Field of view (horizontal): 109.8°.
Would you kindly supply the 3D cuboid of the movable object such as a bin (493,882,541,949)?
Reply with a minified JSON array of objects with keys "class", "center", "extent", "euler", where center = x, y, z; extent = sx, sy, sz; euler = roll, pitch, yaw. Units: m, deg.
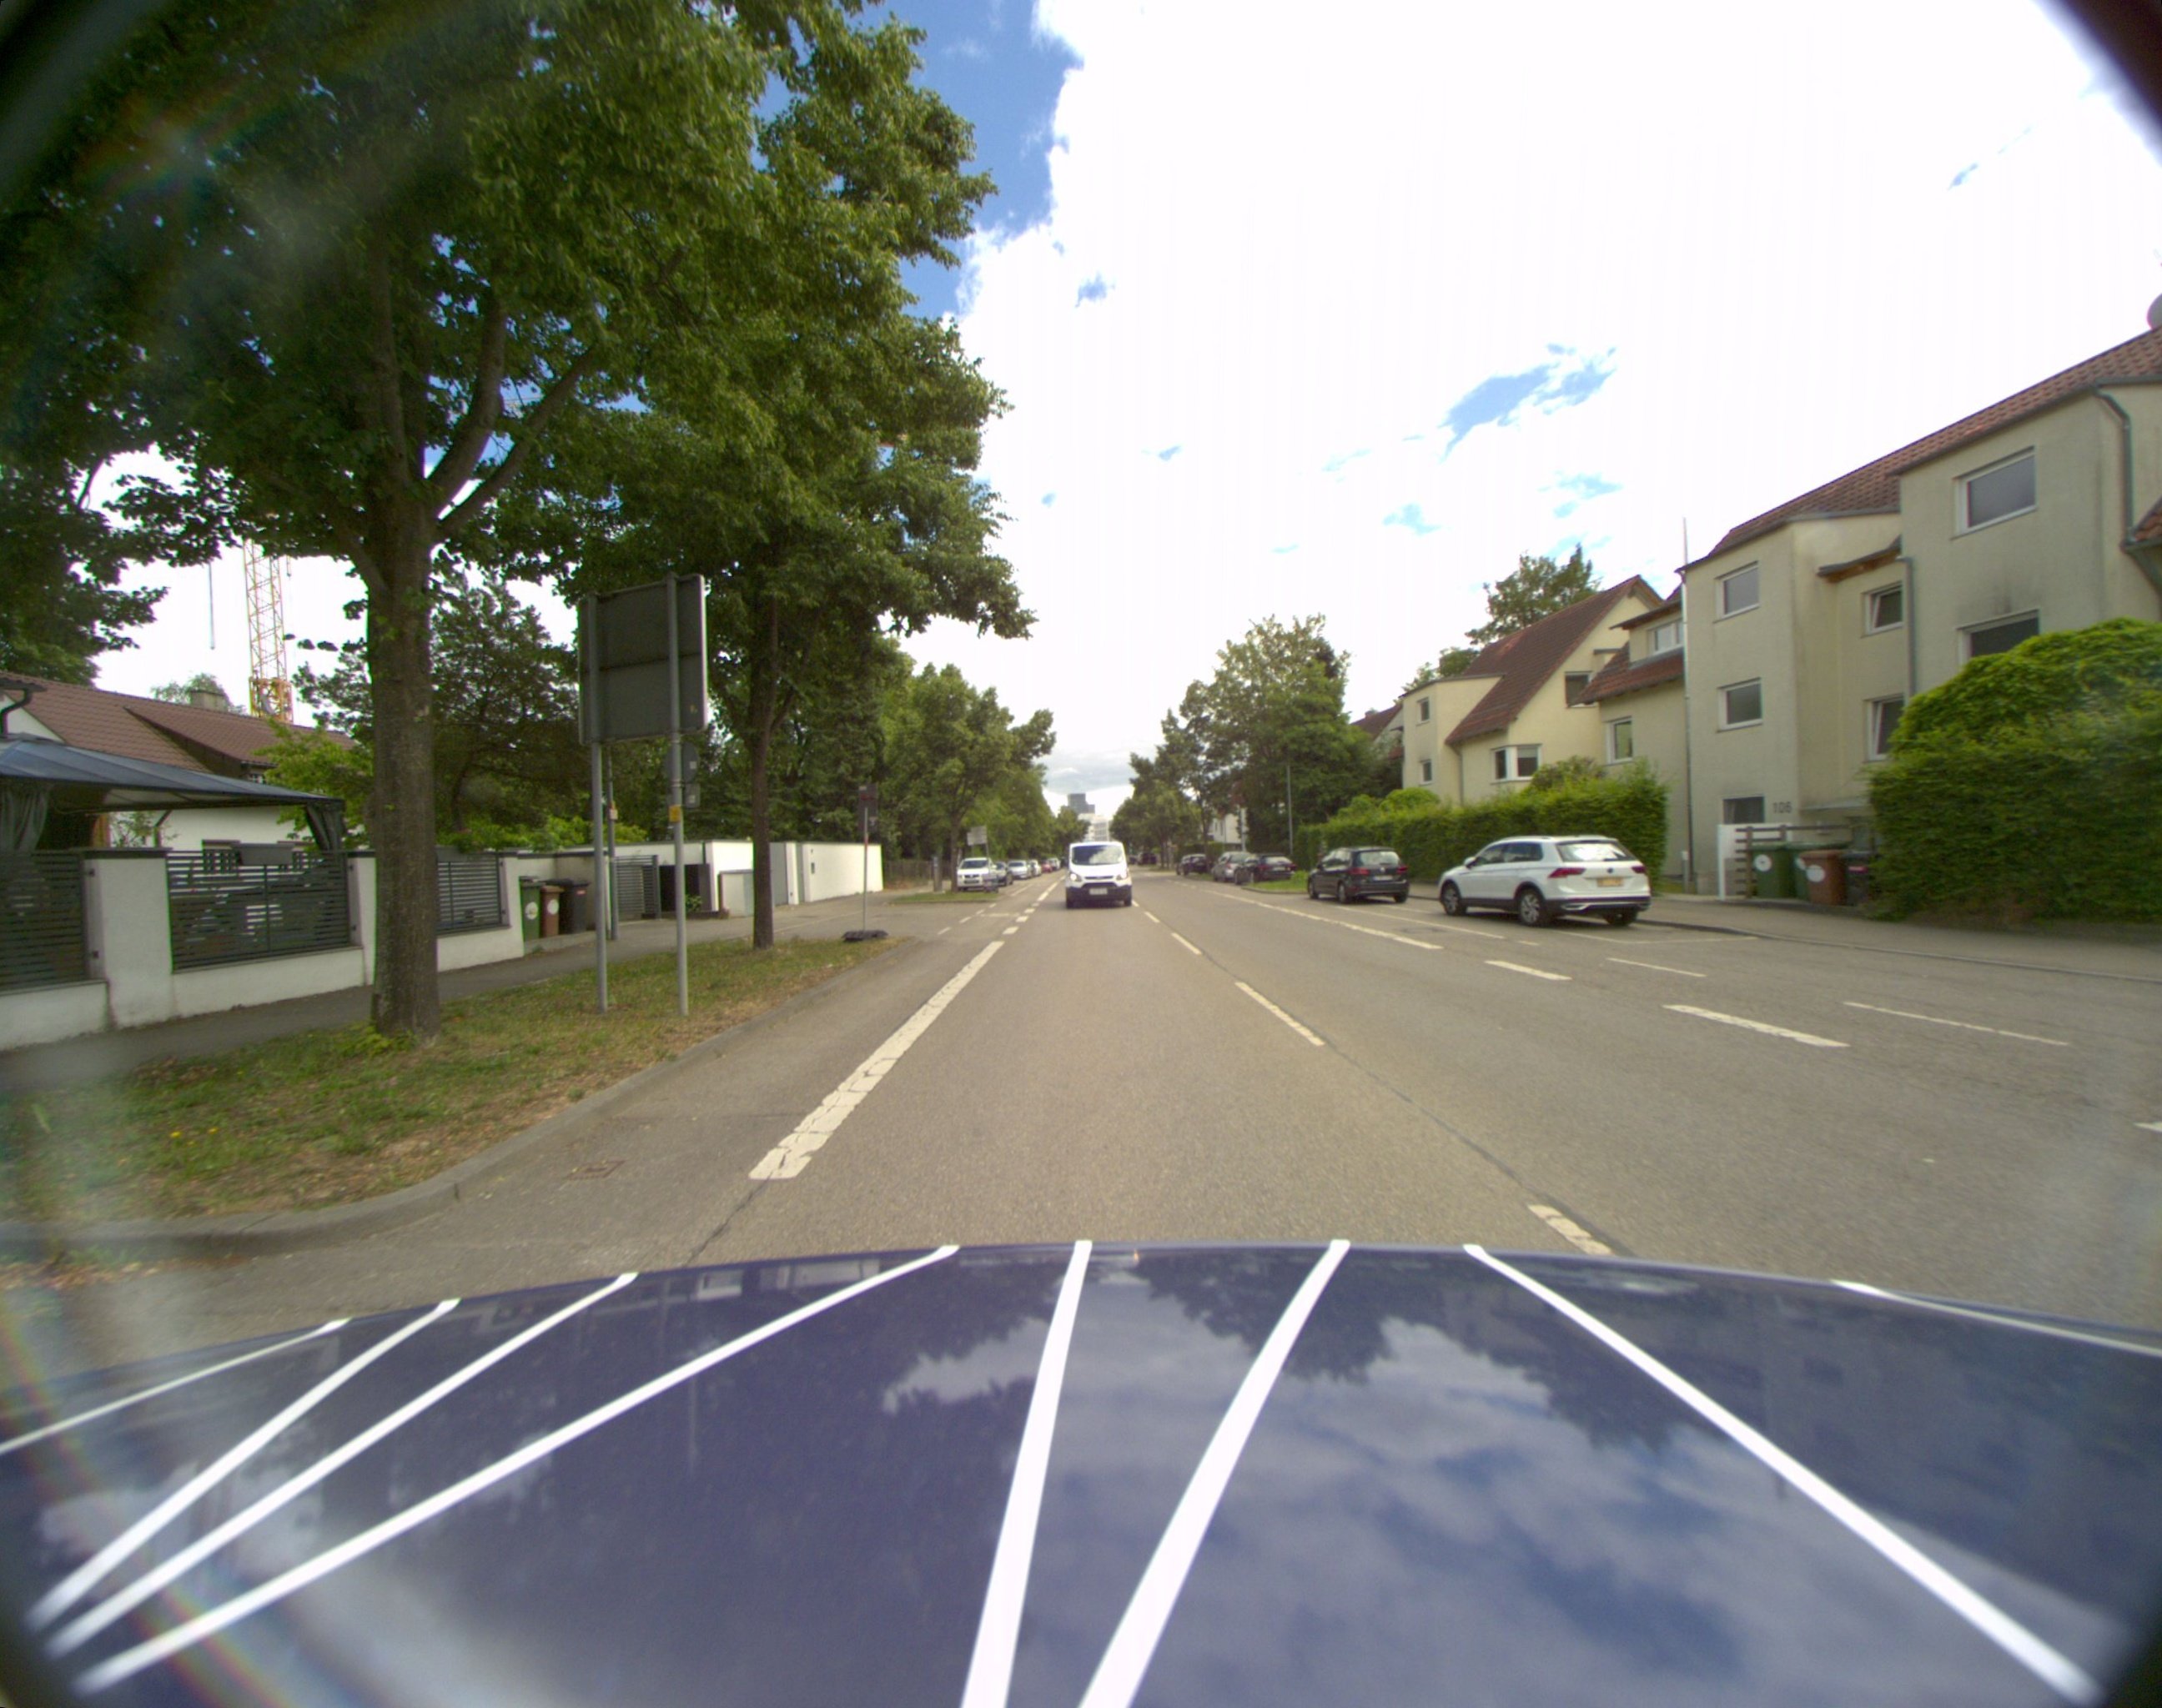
[{"class":"movable object such as a bin","center":[-9.622,1.046,12.977],"extent":[0.437,1.103,0.454],"euler":[-2,1,1]}]

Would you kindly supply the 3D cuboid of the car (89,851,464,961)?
[{"class":"car","center":[-16.568,0.996,15.973],"extent":[5.200,1.893,2.047],"euler":[-2,1,-7]}]

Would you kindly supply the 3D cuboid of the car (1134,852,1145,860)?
[{"class":"car","center":[10.754,0.344,139.798],"extent":[1.750,1.400,4.927],"euler":[-1,0,1]}]

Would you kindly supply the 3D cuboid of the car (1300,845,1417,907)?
[{"class":"car","center":[7.870,0.571,21.977],"extent":[1.681,1.543,4.271],"euler":[-2,0,-2]}]

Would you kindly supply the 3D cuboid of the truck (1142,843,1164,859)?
[{"class":"truck","center":[9.785,-0.431,103.636],"extent":[2.429,2.031,5.995],"euler":[-2,0,1]}]

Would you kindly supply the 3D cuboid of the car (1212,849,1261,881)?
[{"class":"car","center":[8.151,0.542,40.240],"extent":[1.722,1.604,3.909],"euler":[-2,0,-1]}]

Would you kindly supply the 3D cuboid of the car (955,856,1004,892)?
[{"class":"car","center":[-5.048,0.968,38.260],"extent":[1.905,1.633,4.116],"euler":[-2,1,0]}]

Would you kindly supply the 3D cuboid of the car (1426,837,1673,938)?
[{"class":"car","center":[8.828,0.550,14.916],"extent":[1.826,1.624,4.585],"euler":[-2,0,-3]}]

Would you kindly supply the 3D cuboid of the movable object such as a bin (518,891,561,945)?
[{"class":"movable object such as a bin","center":[-9.624,1.135,13.510],"extent":[0.437,0.915,0.395],"euler":[-2,1,1]}]

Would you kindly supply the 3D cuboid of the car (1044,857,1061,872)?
[{"class":"car","center":[-3.475,1.271,93.516],"extent":[1.820,1.506,4.680],"euler":[-4,1,1]}]

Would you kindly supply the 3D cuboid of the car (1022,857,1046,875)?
[{"class":"car","center":[-4.247,1.091,69.090],"extent":[1.772,1.501,4.031],"euler":[-2,1,2]}]

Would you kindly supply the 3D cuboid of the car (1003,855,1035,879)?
[{"class":"car","center":[-4.622,0.951,57.567],"extent":[1.866,1.602,4.686],"euler":[-3,1,1]}]

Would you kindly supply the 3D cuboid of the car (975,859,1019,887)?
[{"class":"car","center":[-4.835,1.064,44.296],"extent":[1.868,1.408,4.603],"euler":[-2,0,2]}]

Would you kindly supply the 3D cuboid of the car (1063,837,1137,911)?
[{"class":"car","center":[0.647,0.556,24.411],"extent":[1.998,2.002,5.189],"euler":[-4,1,2]}]

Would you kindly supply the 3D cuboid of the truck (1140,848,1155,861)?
[{"class":"truck","center":[9.790,0.030,111.888],"extent":[1.971,1.857,5.665],"euler":[-1,0,2]}]

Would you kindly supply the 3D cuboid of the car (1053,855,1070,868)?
[{"class":"car","center":[-2.837,1.075,111.887],"extent":[1.998,1.805,4.827],"euler":[-3,1,2]}]

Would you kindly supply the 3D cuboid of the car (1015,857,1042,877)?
[{"class":"car","center":[-4.404,1.072,63.945],"extent":[1.706,1.501,4.538],"euler":[-3,0,2]}]

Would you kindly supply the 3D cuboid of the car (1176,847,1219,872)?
[{"class":"car","center":[8.234,0.407,54.171],"extent":[2.101,1.637,5.037],"euler":[-1,0,-2]}]

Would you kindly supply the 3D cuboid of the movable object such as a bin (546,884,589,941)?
[{"class":"movable object such as a bin","center":[-9.509,1.070,14.081],"extent":[0.437,1.016,0.454],"euler":[-2,1,1]}]

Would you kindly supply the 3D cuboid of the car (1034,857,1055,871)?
[{"class":"car","center":[-3.996,1.084,84.065],"extent":[1.863,1.405,4.444],"euler":[-4,-1,2]}]

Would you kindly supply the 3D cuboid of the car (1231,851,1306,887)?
[{"class":"car","center":[8.422,0.627,34.625],"extent":[1.999,1.476,4.889],"euler":[-1,0,-3]}]
